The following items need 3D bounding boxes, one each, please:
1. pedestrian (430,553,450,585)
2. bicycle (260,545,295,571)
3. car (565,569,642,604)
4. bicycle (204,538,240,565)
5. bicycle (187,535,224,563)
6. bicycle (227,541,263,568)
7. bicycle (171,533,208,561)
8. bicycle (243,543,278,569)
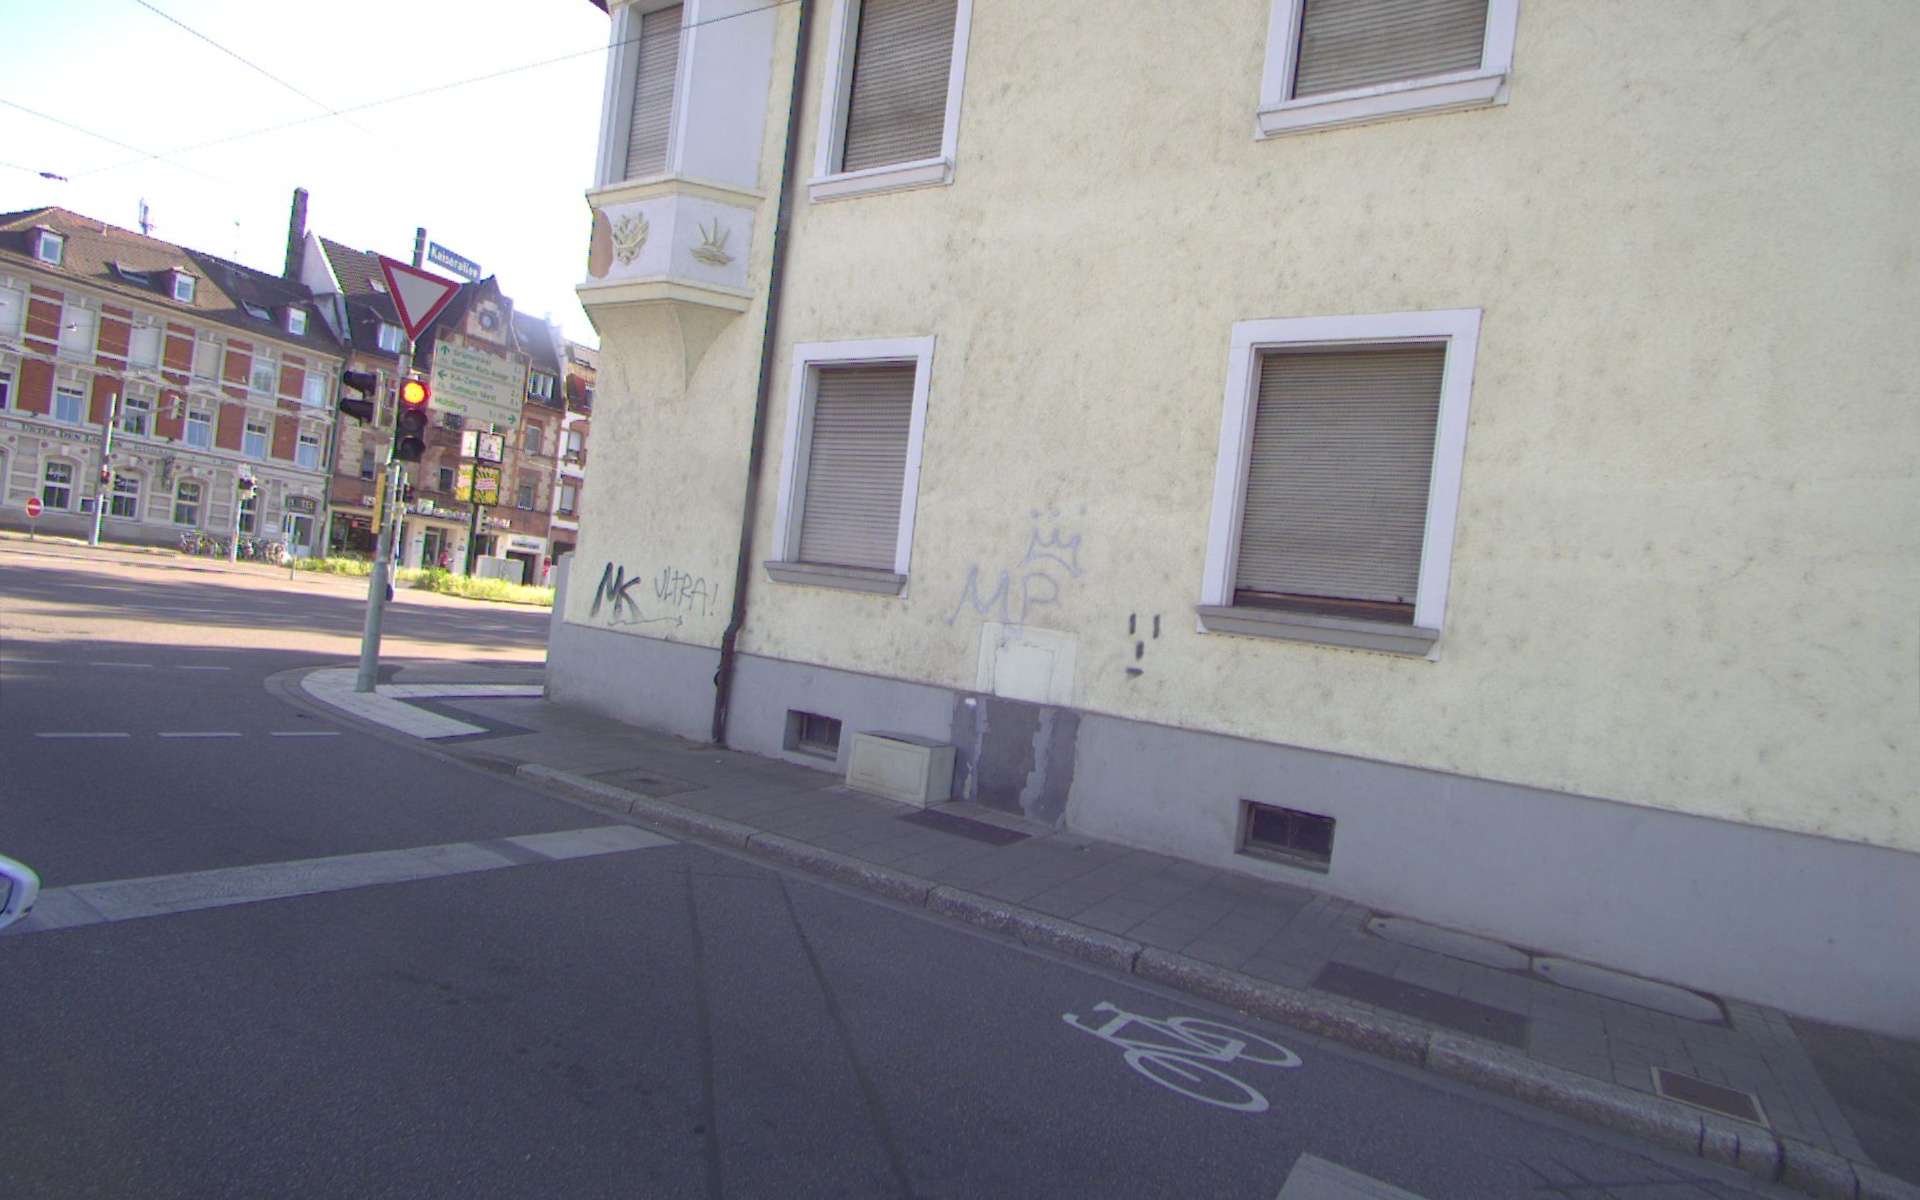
[{"bbox_3d":[-30.336,-1.819,58.694,0.414,1.773,0.709,7,0,33],"label":"pedestrian"},{"bbox_3d":[-32.970,-2.020,48.584,1.614,1.064,0.606,7,0,27],"label":"bicycle"},{"bbox_3d":[-23.111,-0.872,65.303,1.966,1.674,4.378,7,-1,29],"label":"car"},{"bbox_3d":[-34.305,-2.268,46.766,1.614,1.064,0.606,7,0,27],"label":"bicycle"},{"bbox_3d":[-34.635,-2.335,46.190,1.614,1.064,0.606,7,0,27],"label":"bicycle"},{"bbox_3d":[-33.639,-2.158,47.336,1.614,1.064,0.606,7,0,27],"label":"bicycle"},{"bbox_3d":[-34.935,-2.397,45.608,1.614,1.064,0.606,7,0,27],"label":"bicycle"},{"bbox_3d":[-33.344,-2.095,47.946,1.614,1.064,0.606,7,0,27],"label":"bicycle"}]
